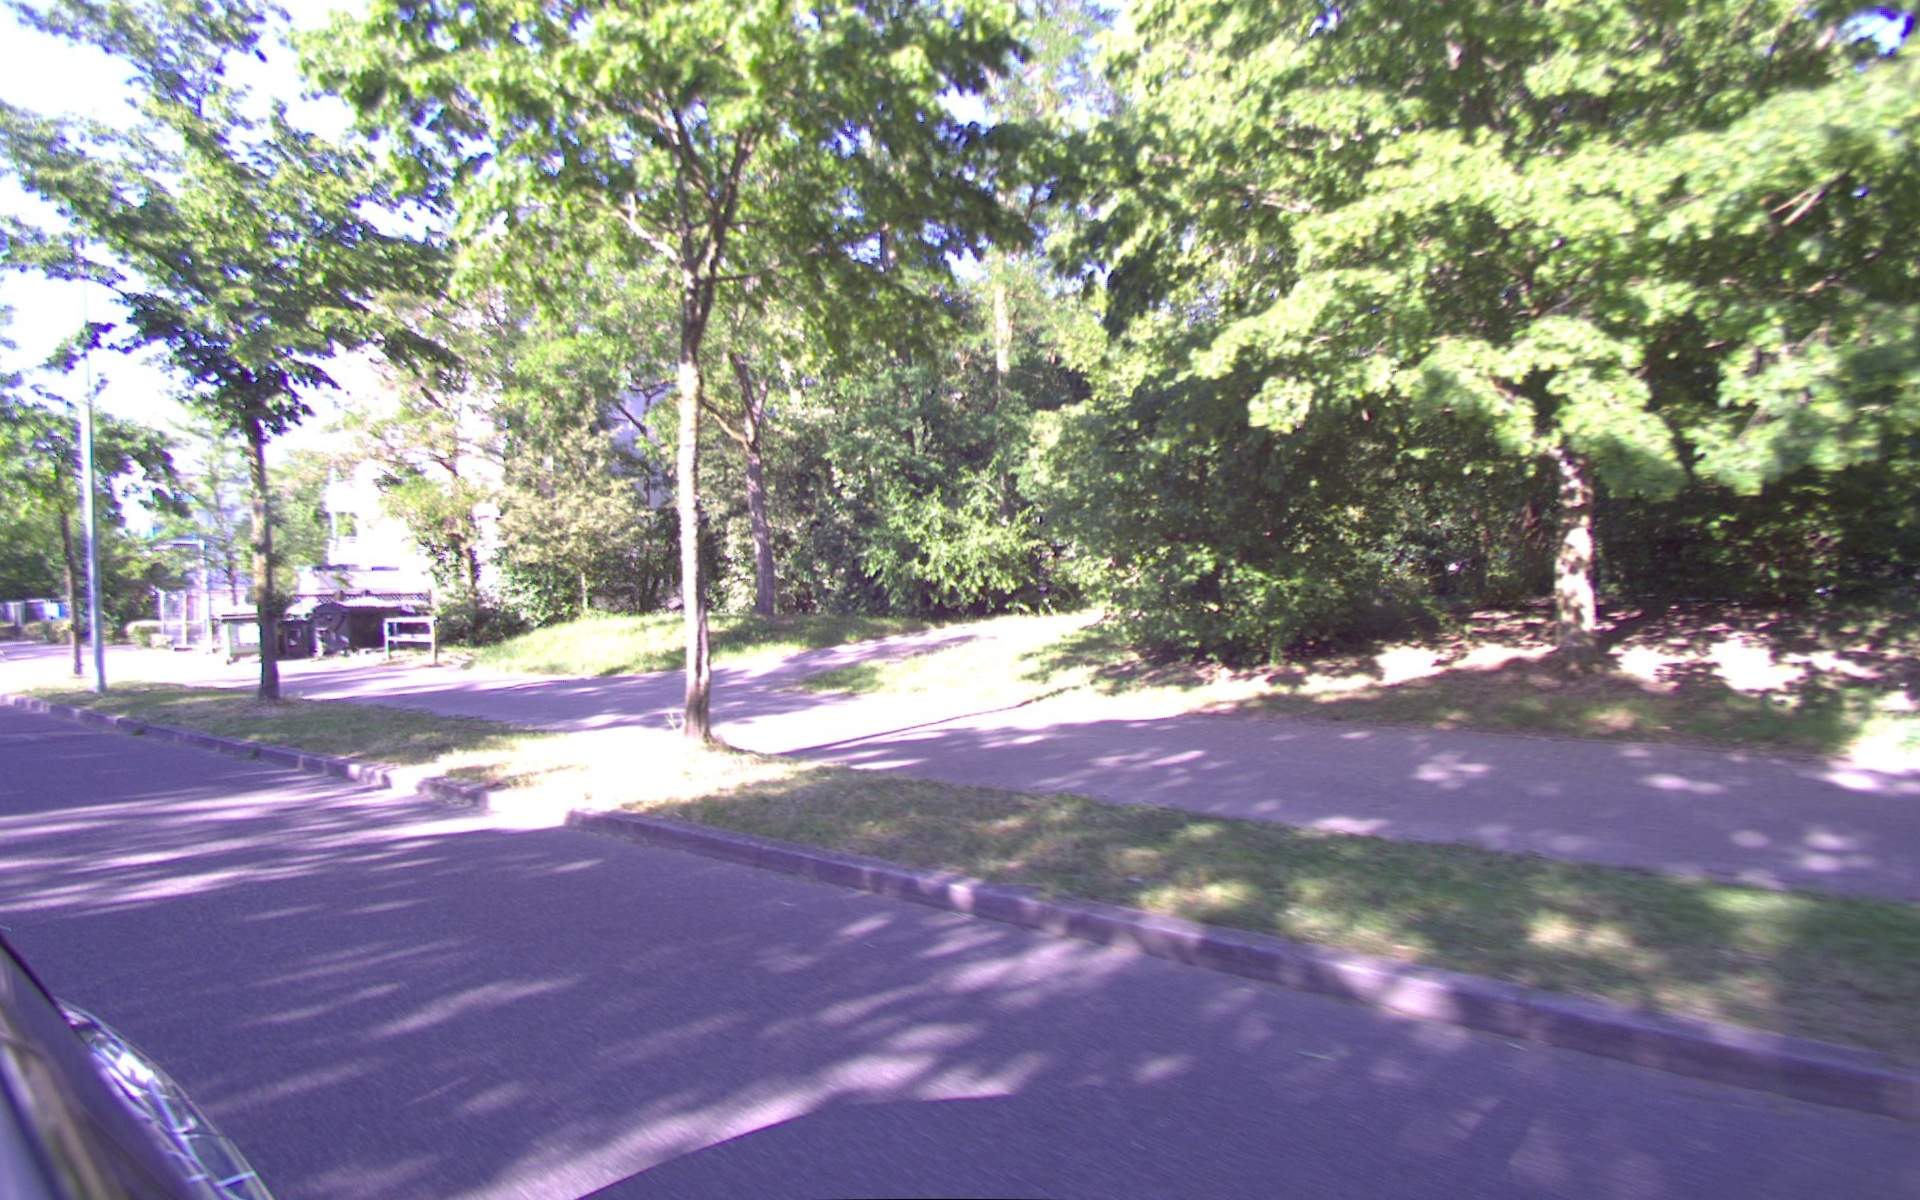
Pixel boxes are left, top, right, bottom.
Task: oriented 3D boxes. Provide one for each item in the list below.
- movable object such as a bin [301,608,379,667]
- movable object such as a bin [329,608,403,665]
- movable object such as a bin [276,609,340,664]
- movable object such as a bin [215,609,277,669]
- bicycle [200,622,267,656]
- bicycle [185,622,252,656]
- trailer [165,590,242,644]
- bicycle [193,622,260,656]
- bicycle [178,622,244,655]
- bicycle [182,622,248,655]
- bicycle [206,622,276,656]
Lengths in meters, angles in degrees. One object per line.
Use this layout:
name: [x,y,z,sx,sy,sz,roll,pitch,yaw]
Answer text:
movable object such as a bin: [-15.773,0.937,25.785,1.257,1.446,1.143,-1,0,6]
movable object such as a bin: [-15.829,0.962,26.997,1.257,1.446,1.143,-1,0,6]
movable object such as a bin: [-17.845,0.974,27.755,1.251,1.446,1.330,-1,-1,-23]
movable object such as a bin: [-18.077,0.973,25.652,1.252,1.446,1.184,-1,-1,-35]
bicycle: [-24.026,1.270,33.488,0.398,1.034,1.827,-1,0,26]
bicycle: [-24.829,1.283,33.913,0.398,1.034,1.828,-1,0,26]
trailer: [-32.893,0.731,43.957,4.346,2.136,1.844,-1,2,43]
bicycle: [-24.397,1.278,33.699,0.398,1.034,1.848,-1,0,26]
bicycle: [-25.821,1.317,34.936,0.398,1.034,1.858,-1,0,26]
bicycle: [-25.178,1.287,34.234,0.398,1.034,1.845,-1,0,26]
bicycle: [-23.607,1.266,33.269,0.398,1.034,1.904,-1,0,26]
